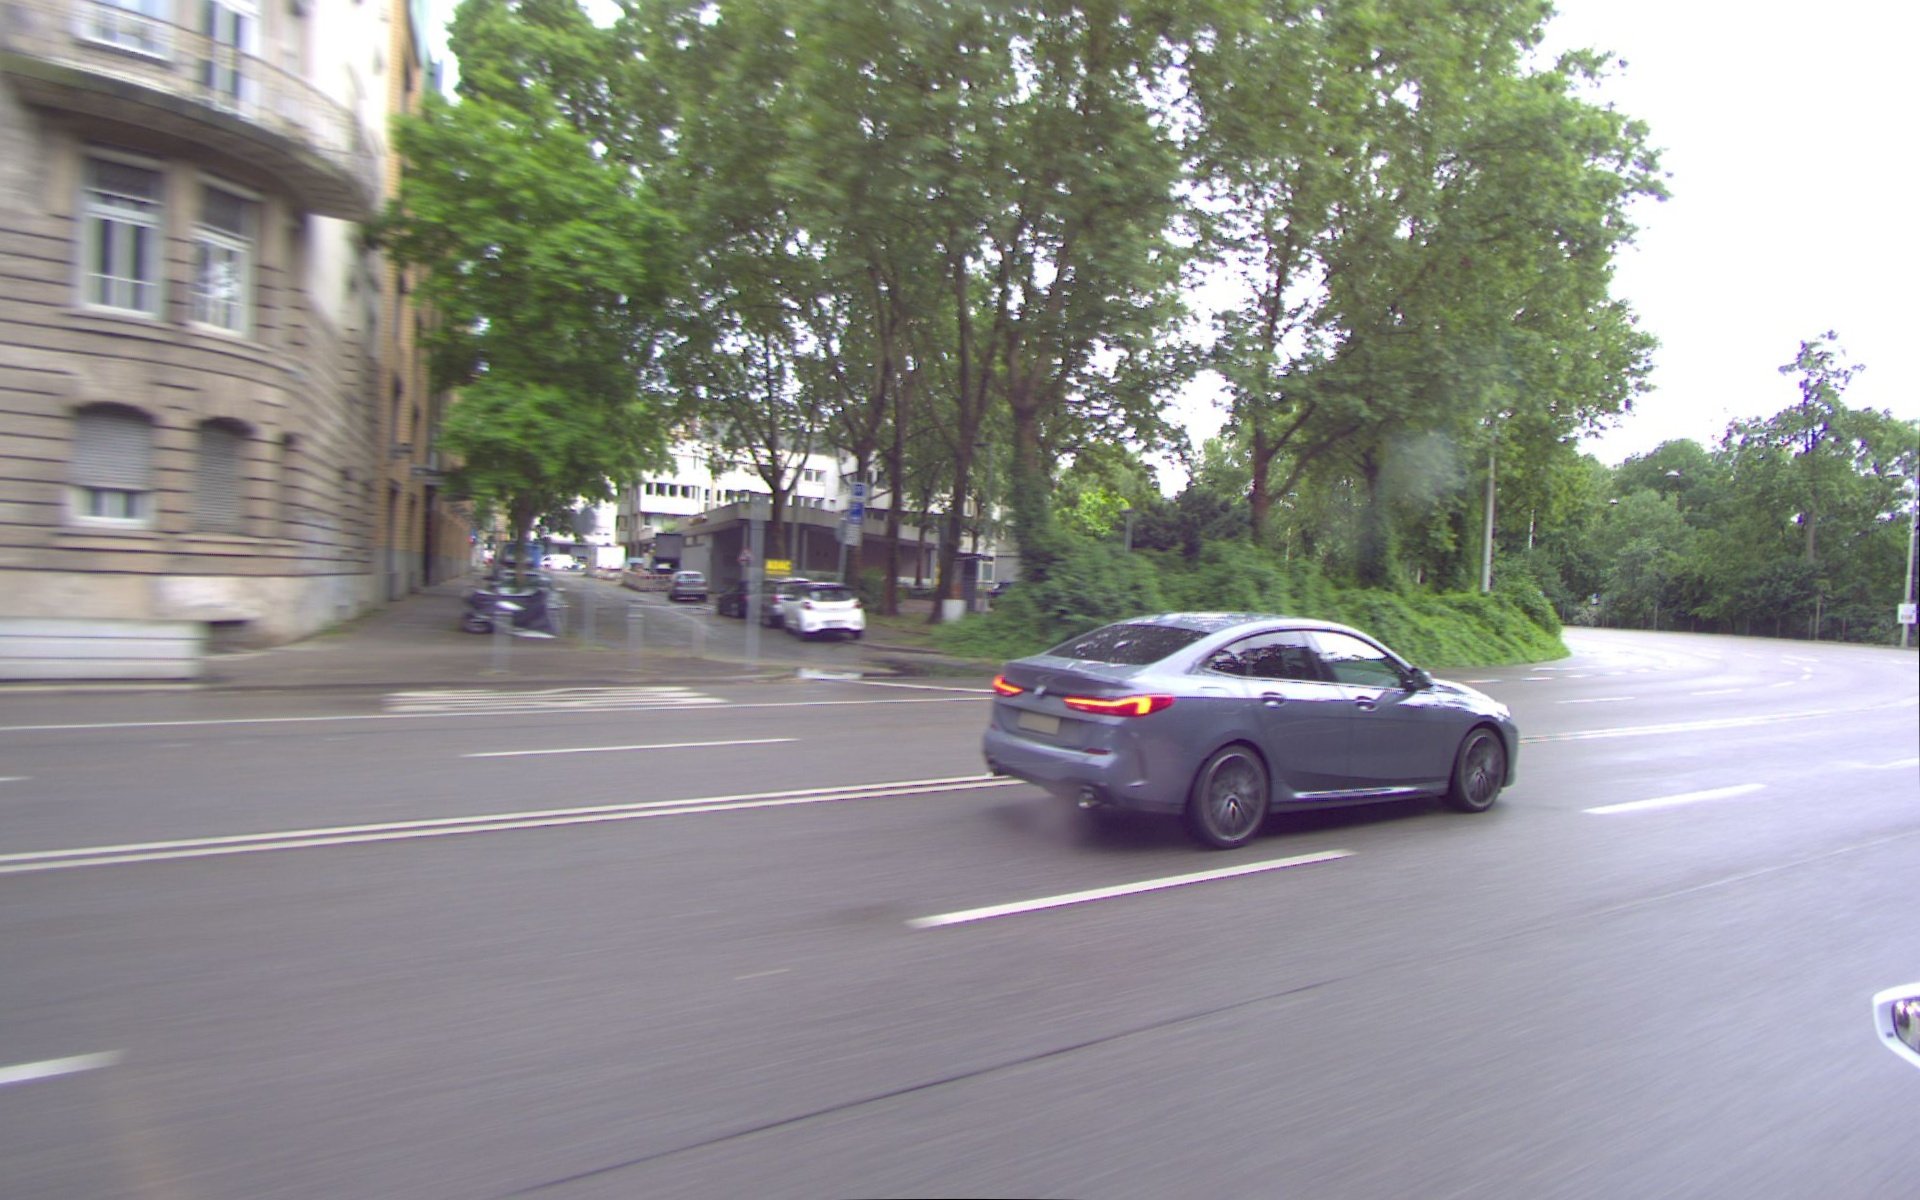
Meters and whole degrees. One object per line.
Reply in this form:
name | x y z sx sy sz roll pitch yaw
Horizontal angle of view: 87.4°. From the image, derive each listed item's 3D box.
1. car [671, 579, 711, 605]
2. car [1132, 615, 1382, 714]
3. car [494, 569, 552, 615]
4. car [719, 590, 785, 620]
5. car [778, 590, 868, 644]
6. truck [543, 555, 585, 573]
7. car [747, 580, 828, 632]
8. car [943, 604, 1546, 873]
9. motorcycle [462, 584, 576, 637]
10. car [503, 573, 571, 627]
car | -13.423 -0.389 49.983 1.475 1.223 3.486 0 1 -22
car | 4.797 0.981 16.096 3.872 1.357 1.692 1 0 -32
car | -14.758 -0.309 33.895 1.671 1.380 3.975 2 1 -25
car | -7.634 0.160 36.620 1.753 1.039 3.486 0 1 -22
car | -3.860 0.433 27.868 1.752 1.394 3.489 0 1 -20
truck | -50.723 -4.610 128.638 4.761 2.041 1.985 2 2 -29
car | -5.498 0.155 31.705 1.753 1.532 3.804 0 1 -22
car | 2.234 0.813 7.402 4.488 1.434 1.656 1 1 -31
motorcycle | -10.192 0.248 23.261 2.364 1.157 0.501 2 1 -29
car | -12.227 -0.044 28.920 1.671 1.380 3.975 2 1 -25
